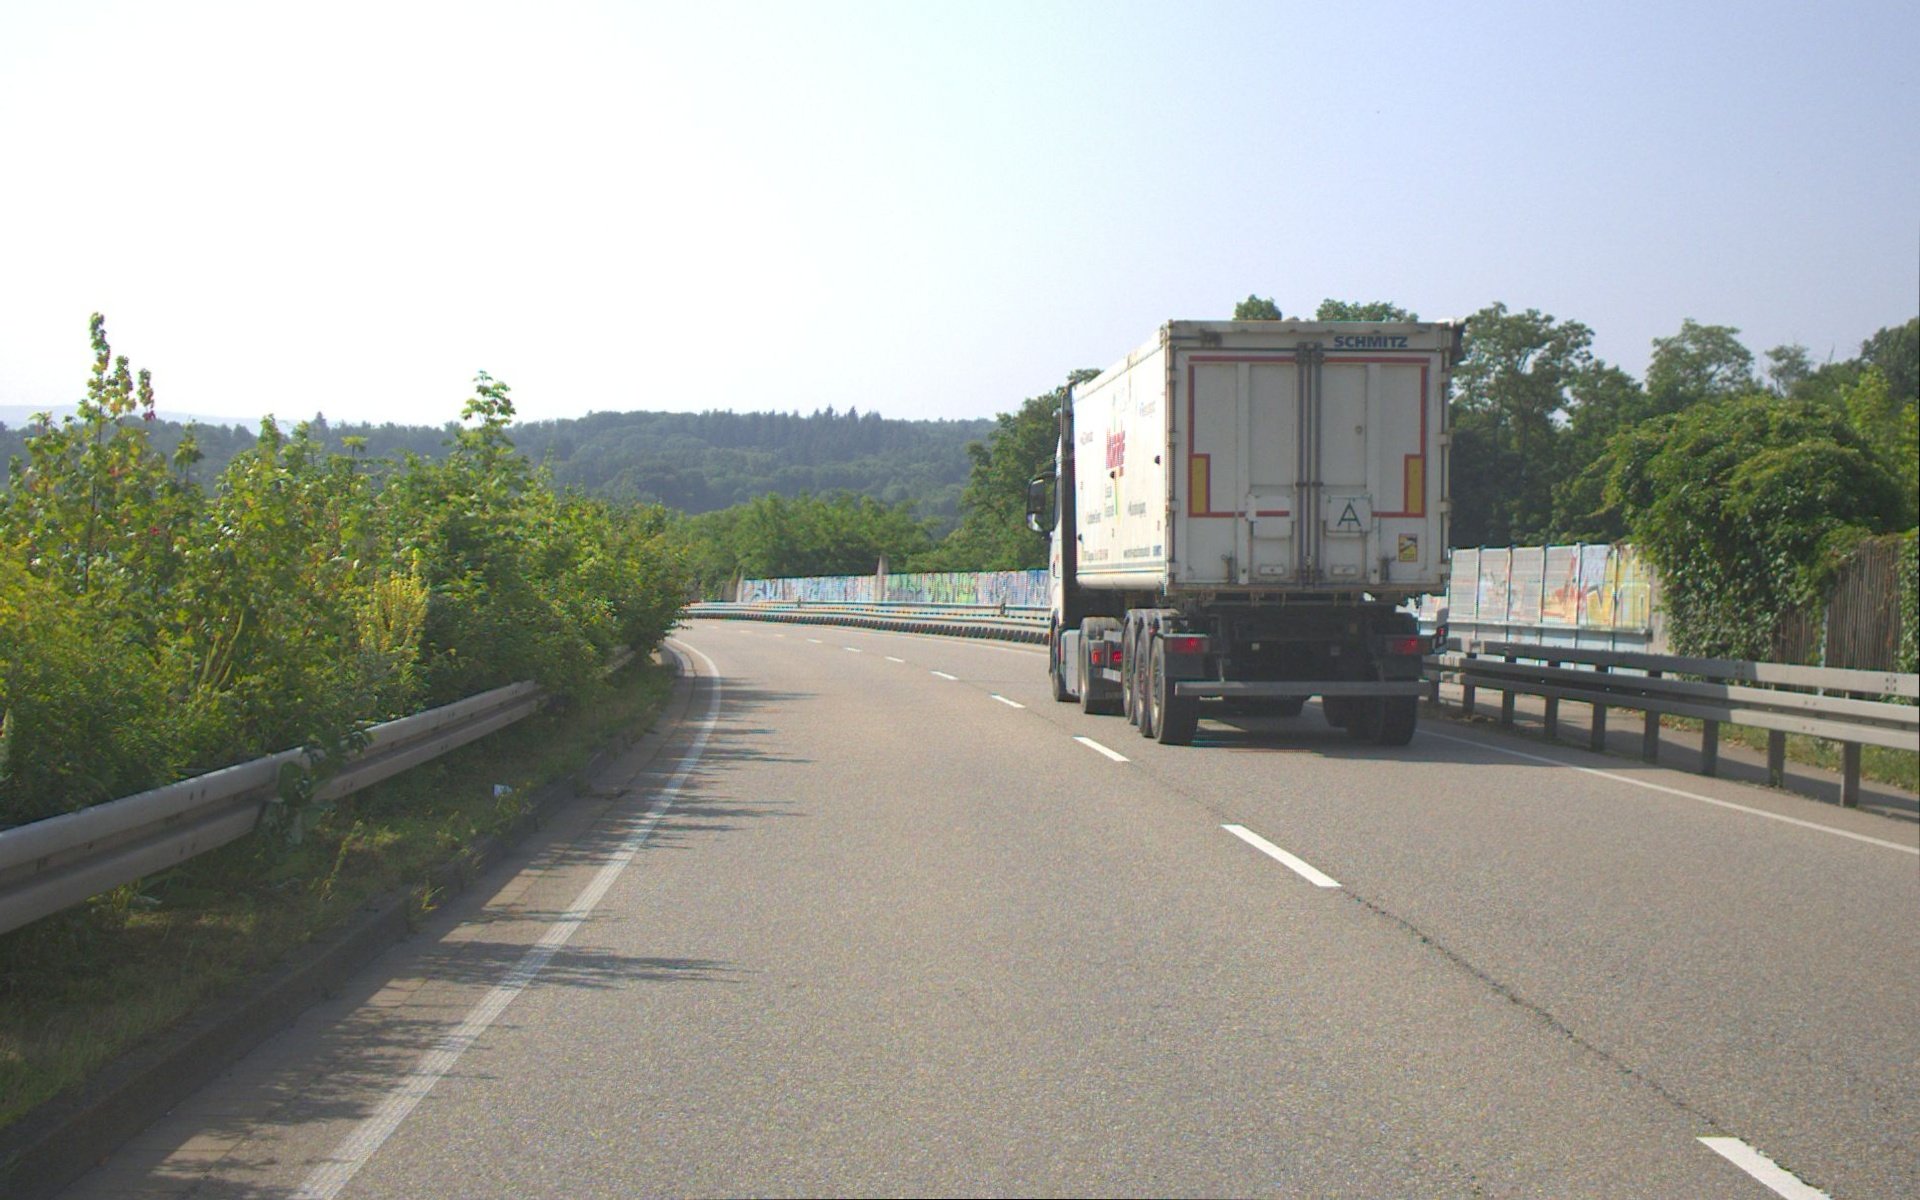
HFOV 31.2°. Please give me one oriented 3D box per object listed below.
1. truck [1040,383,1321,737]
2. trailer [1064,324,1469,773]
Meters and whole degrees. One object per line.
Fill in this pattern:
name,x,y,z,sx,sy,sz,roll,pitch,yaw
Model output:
truck,2.523,-0.457,41.132,2.658,3.883,5.648,1,0,-3
trailer,2.850,-0.450,35.110,2.679,3.894,9.673,1,0,-3
